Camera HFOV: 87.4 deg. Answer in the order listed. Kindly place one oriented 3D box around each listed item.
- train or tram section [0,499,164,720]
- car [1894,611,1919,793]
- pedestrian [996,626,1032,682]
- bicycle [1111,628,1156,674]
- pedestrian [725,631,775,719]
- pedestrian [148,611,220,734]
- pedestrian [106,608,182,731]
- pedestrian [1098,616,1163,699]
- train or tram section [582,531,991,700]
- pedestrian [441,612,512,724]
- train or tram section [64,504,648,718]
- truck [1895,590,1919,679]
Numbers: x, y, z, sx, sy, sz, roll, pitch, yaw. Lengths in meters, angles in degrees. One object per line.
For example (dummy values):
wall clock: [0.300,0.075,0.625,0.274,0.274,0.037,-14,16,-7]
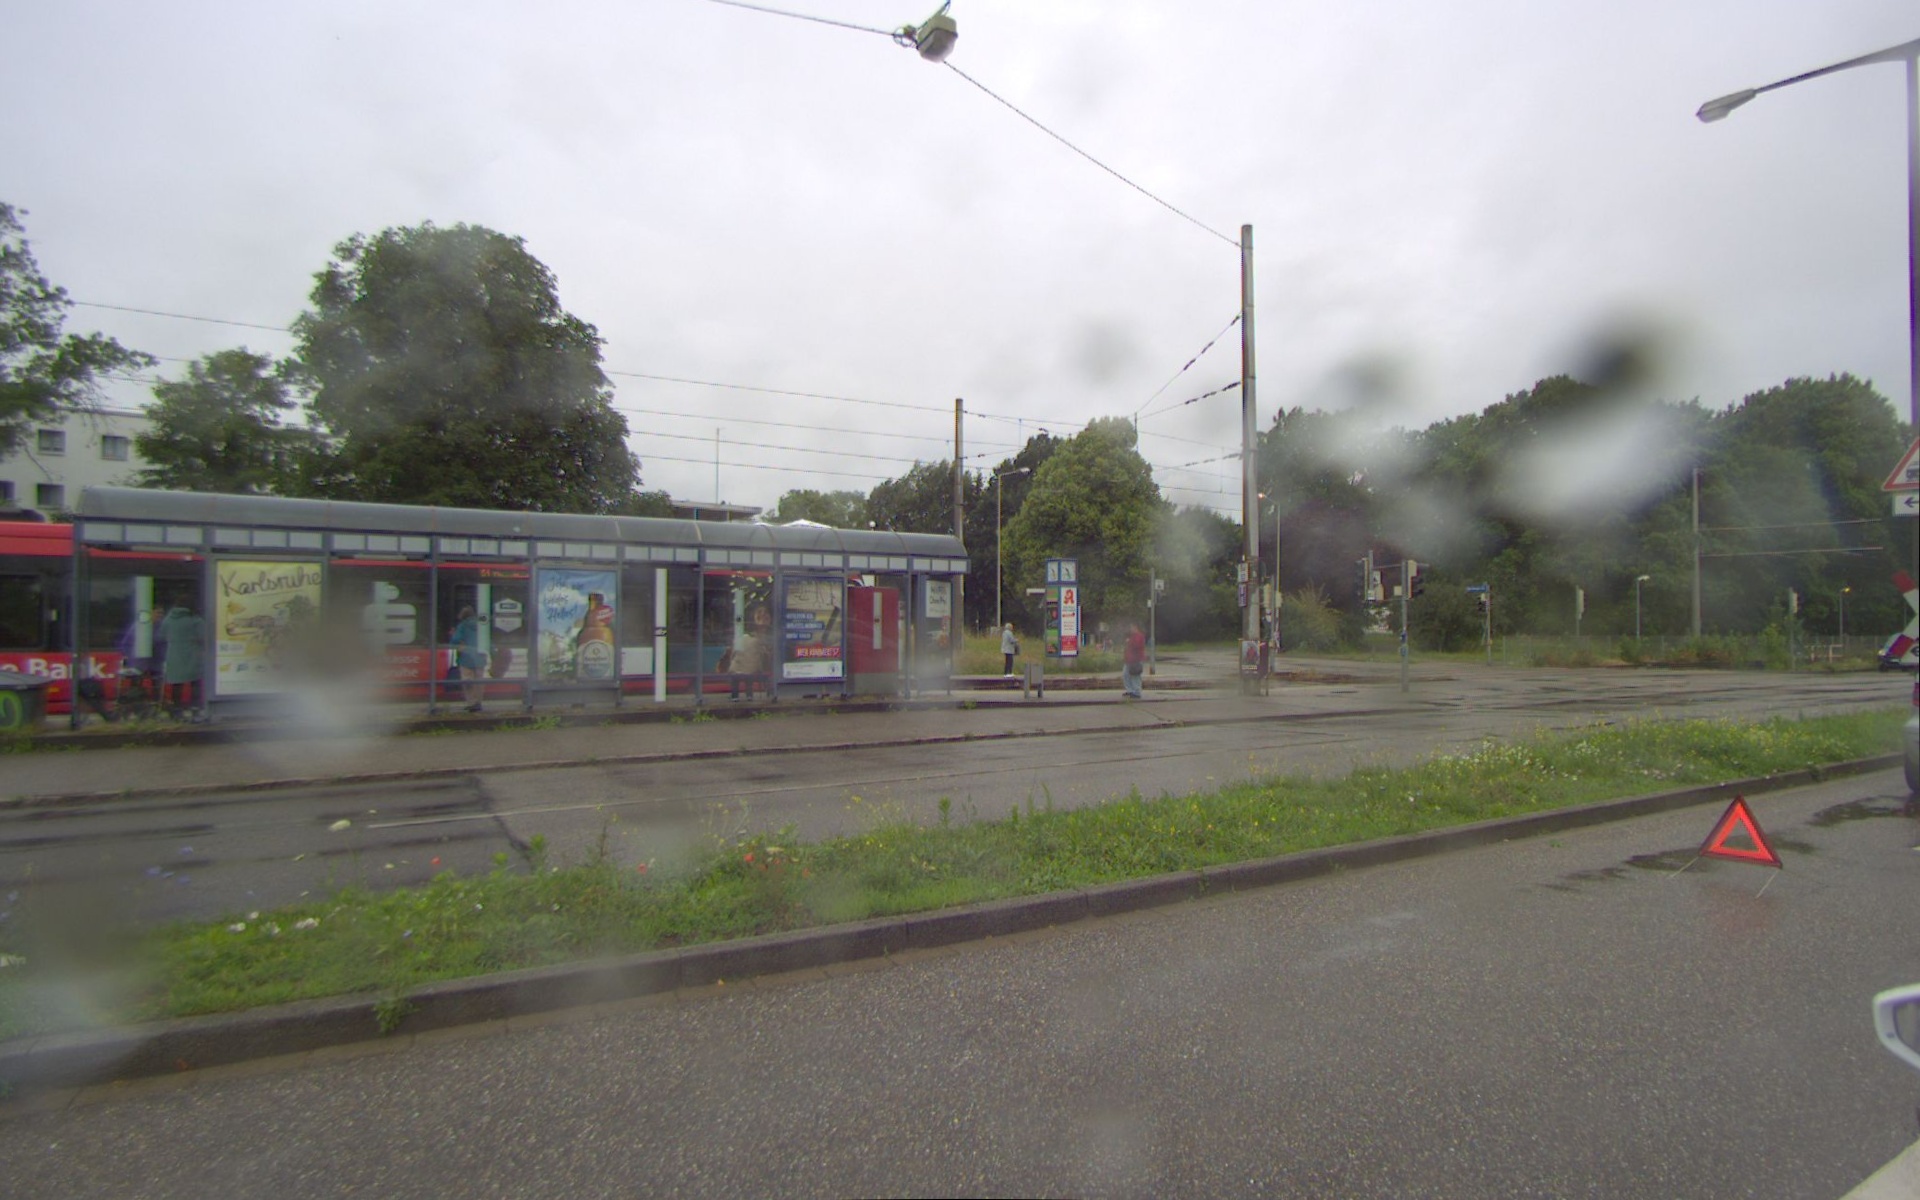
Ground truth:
train or tram section: [-18.972,0.135,15.383,10.142,3.445,3.516,1,-2,-31]
car: [10.306,0.906,9.118,3.969,1.564,1.727,1,-1,-32]
pedestrian: [1.666,1.648,30.977,0.795,1.679,0.776,1,0,-31]
bicycle: [6.806,1.982,39.421,1.714,1.784,0.637,1,-1,-30]
pedestrian: [-3.625,1.268,17.289,0.691,1.472,0.623,1,-1,-29]
pedestrian: [-10.210,0.941,13.234,0.591,1.583,0.443,1,0,-17]
pedestrian: [-10.801,0.912,13.318,0.591,1.583,0.521,1,0,-17]
pedestrian: [3.663,1.214,21.576,0.985,1.698,0.919,1,0,-30]
train or tram section: [-4.034,0.433,24.376,9.171,3.434,3.516,1,-2,-31]
pedestrian: [-7.302,1.003,15.160,0.917,1.618,0.801,1,-1,-28]
train or tram section: [-11.294,0.290,20.007,9.171,3.435,3.516,1,-2,-31]
truck: [50.334,1.770,49.684,10.291,4.223,3.366,2,0,-32]
